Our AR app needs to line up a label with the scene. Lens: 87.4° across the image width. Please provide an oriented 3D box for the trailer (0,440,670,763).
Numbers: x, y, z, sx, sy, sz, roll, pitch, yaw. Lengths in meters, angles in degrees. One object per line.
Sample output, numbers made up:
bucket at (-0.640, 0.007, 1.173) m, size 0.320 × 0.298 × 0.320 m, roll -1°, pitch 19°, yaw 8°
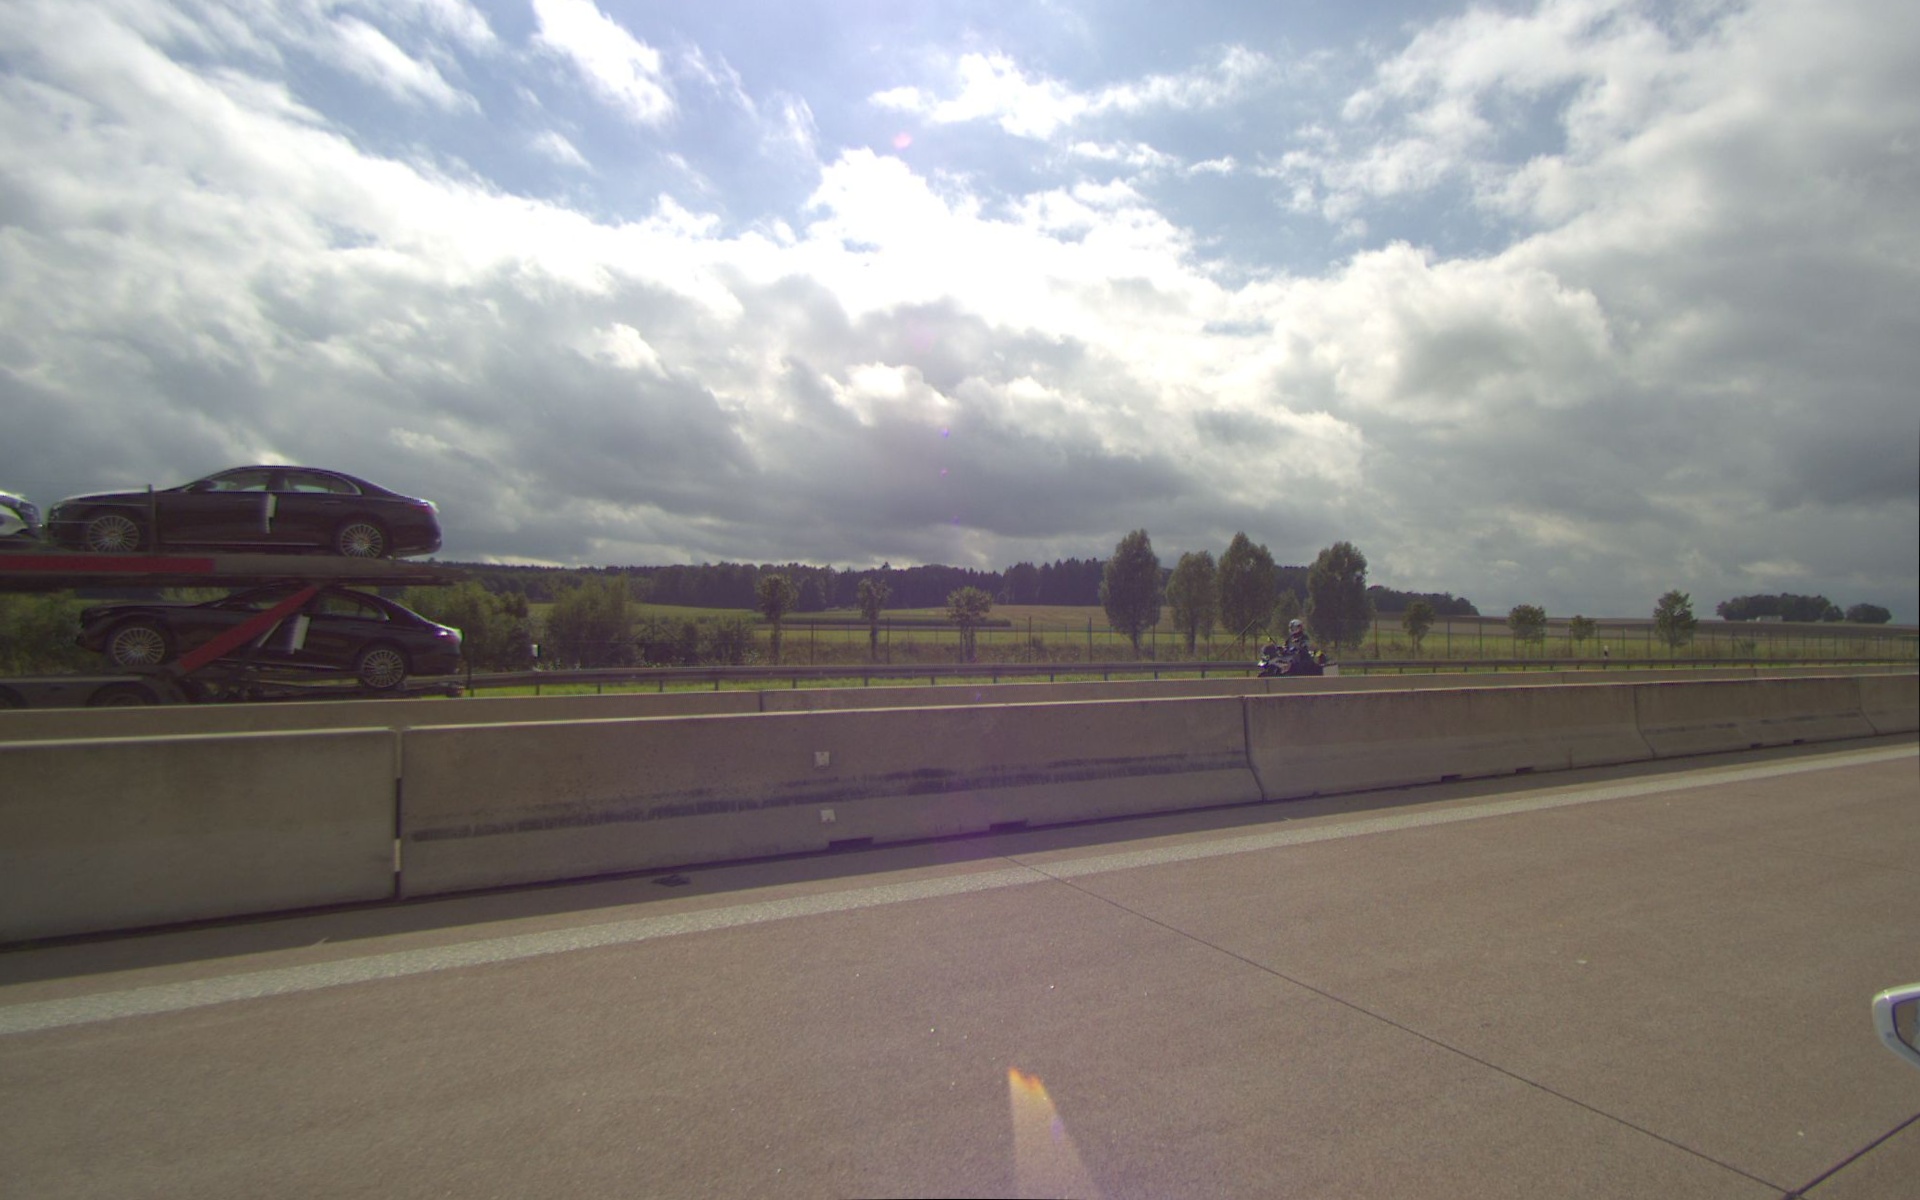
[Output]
trailer at (-12.599, 0.001, 14.002) m, size 16.128 × 4.031 × 3.180 m, roll 1°, pitch 0°, yaw -30°

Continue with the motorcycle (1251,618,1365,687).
motorcycle at (7.216, 1.070, 20.809) m, size 2.314 × 1.321 × 0.922 m, roll 1°, pitch 0°, yaw -30°

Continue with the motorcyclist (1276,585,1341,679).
motorcyclist at (7.216, 0.645, 20.818) m, size 0.734 × 1.886 × 1.005 m, roll 1°, pitch 0°, yaw -28°
